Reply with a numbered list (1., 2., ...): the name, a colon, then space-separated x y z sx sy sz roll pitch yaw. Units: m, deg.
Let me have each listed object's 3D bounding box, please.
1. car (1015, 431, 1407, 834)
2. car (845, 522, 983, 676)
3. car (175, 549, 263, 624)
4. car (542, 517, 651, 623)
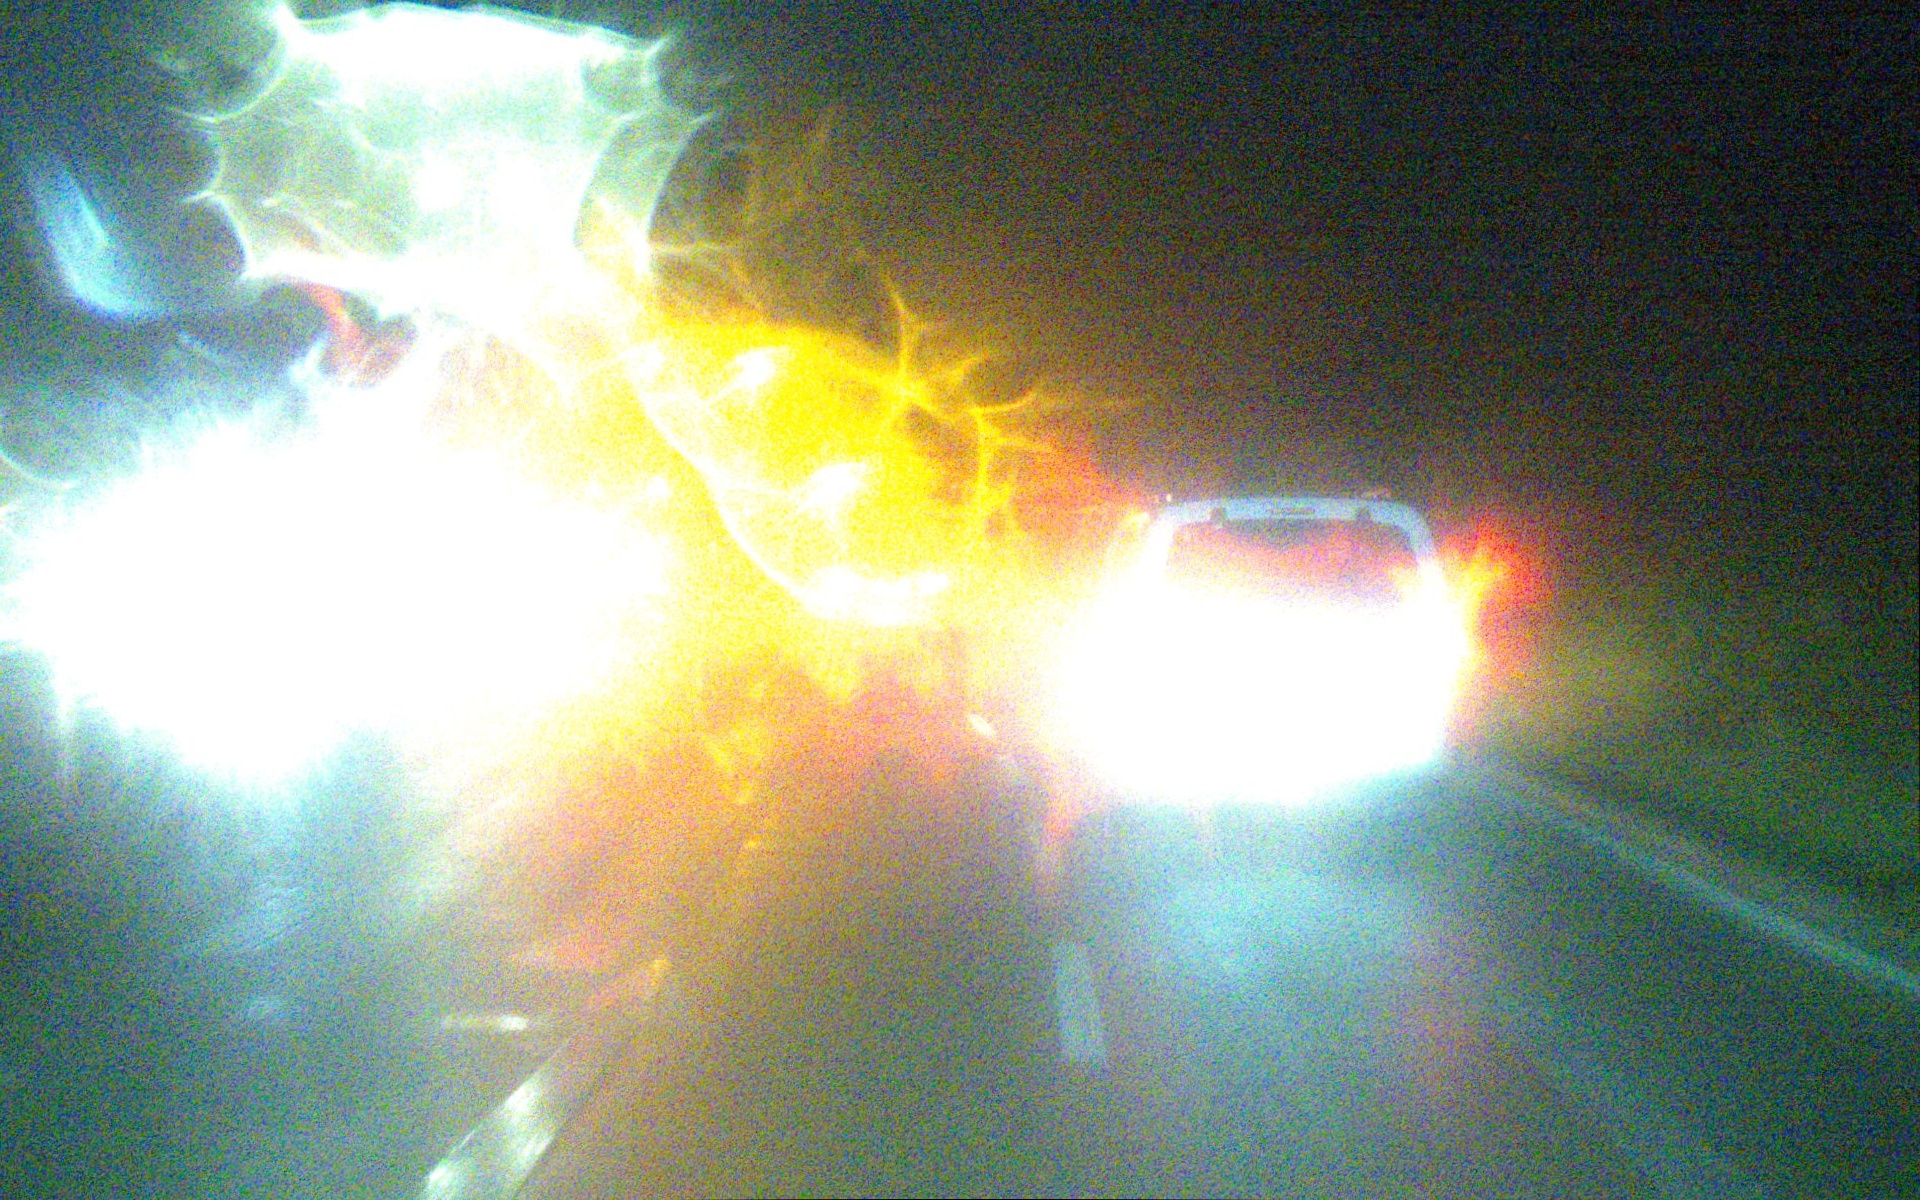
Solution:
1. car: 1.296 0.115 19.530 1.791 2.015 4.580 0 1 -1
2. car: -0.648 -0.064 47.257 1.791 2.015 4.580 0 1 -1
3. car: -16.328 -0.309 75.844 1.801 1.582 4.032 1 0 -12
4. car: -6.372 -0.550 59.893 1.783 1.776 4.437 0 1 -7
